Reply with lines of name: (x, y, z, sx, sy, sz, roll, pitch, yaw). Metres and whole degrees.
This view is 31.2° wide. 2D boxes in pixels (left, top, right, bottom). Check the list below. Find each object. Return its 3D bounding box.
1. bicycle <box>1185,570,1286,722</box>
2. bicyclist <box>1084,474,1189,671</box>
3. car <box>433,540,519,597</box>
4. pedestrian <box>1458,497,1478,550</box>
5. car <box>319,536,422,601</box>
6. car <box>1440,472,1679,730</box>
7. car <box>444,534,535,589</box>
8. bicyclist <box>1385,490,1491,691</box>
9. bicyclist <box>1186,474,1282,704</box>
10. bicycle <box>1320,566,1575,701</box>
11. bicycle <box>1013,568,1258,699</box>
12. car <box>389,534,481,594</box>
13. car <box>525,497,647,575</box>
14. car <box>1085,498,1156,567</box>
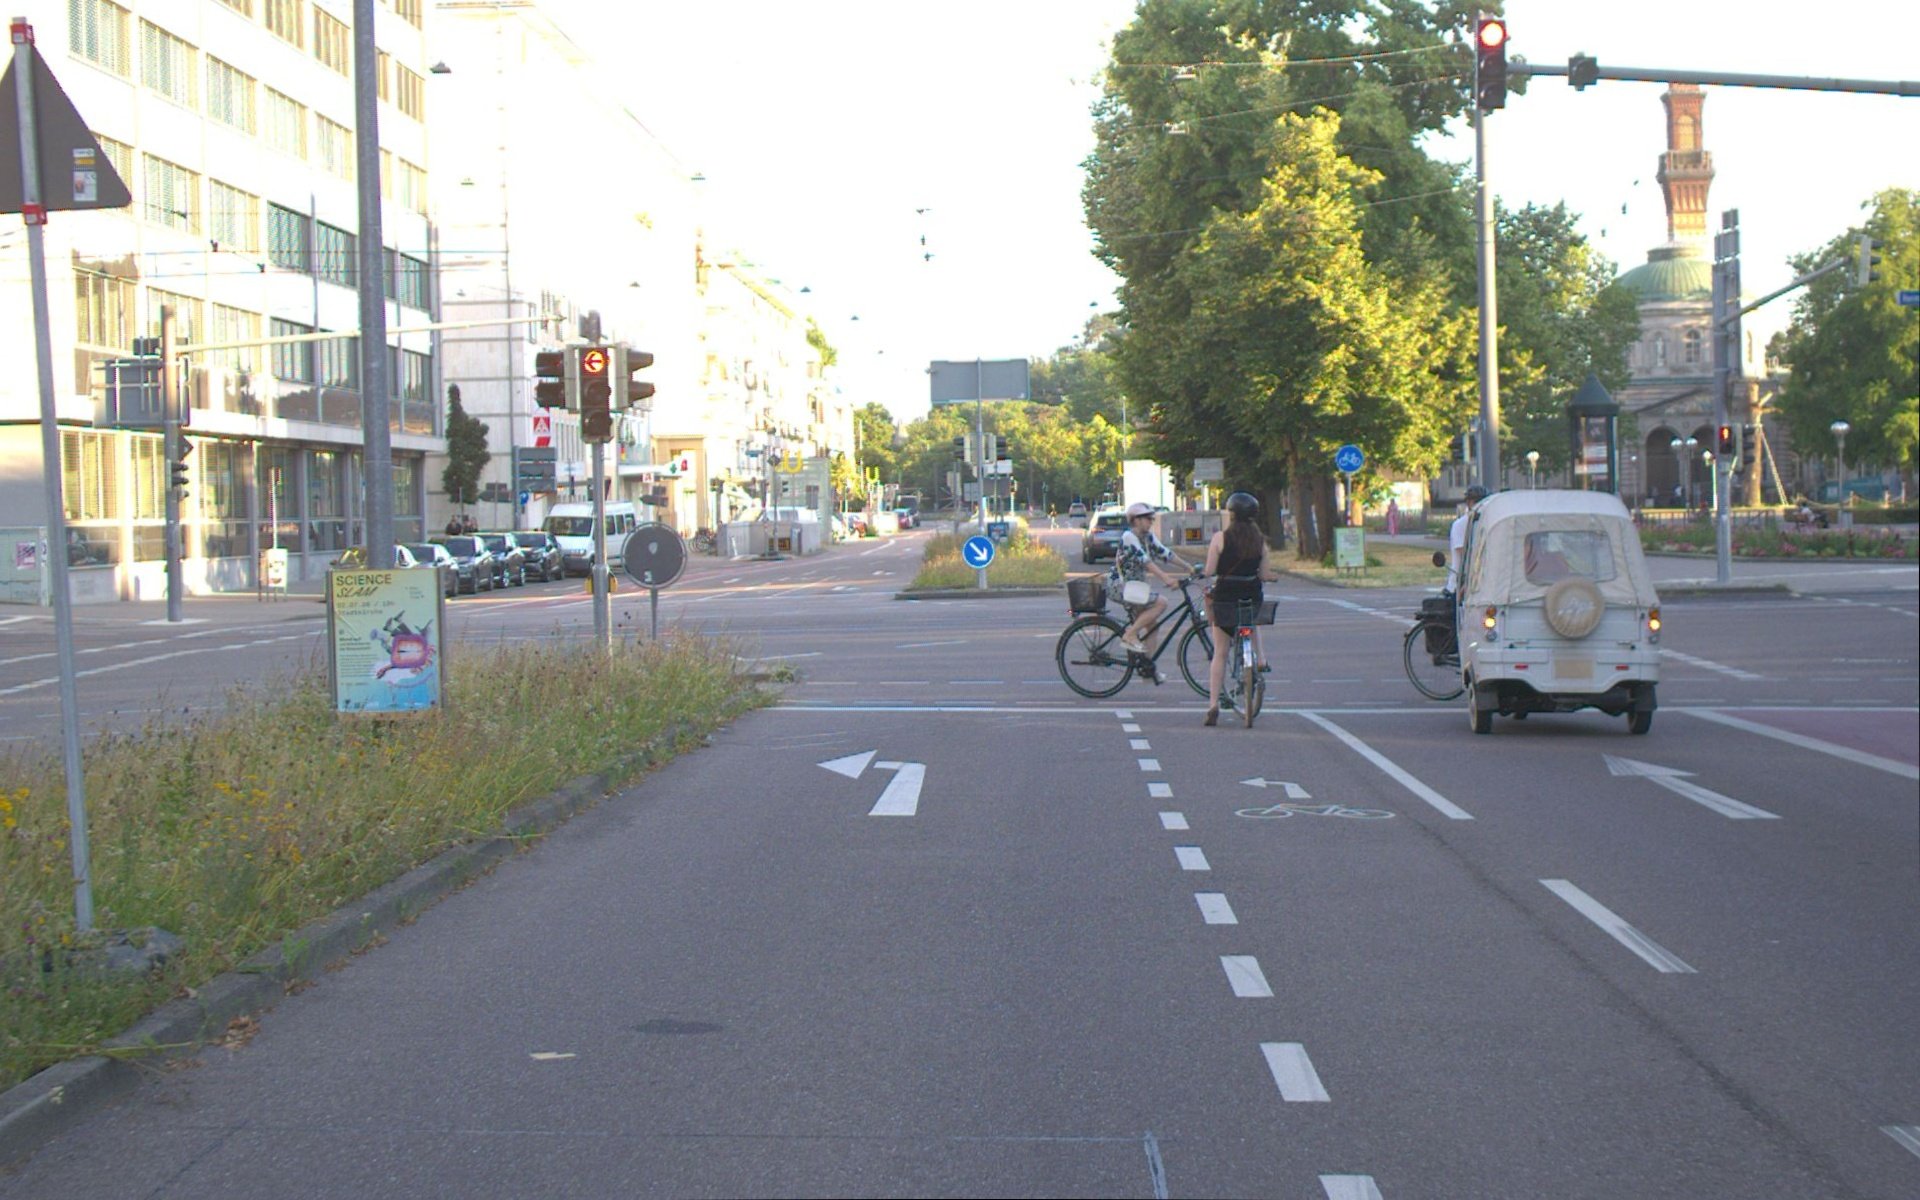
bicycle: (2.072, 0.325, 26.065, 0.637, 1.065, 2.069, 0, 1, 1)
bicyclist: (1.540, -0.242, 29.947, 0.746, 1.687, 0.715, -1, 1, 15)
car: (-13.655, -0.868, 97.153, 1.796, 1.470, 4.000, -1, -1, 1)
pedestrian: (15.881, -2.397, 107.509, 0.508, 1.663, 0.531, -1, 1, 0)
car: (-14.653, -0.764, 85.658, 1.796, 1.470, 4.000, -1, -1, 1)
car: (4.387, -0.037, 25.411, 1.459, 1.774, 2.564, -1, 2, 4)
car: (-13.976, -1.125, 102.310, 1.796, 1.470, 3.999, -2, -1, 5)
bicyclist: (4.110, -0.086, 29.535, 0.747, 1.687, 0.764, -1, 1, 17)
bicyclist: (2.047, -0.088, 25.741, 0.628, 1.687, 0.748, -1, 1, 1)
bicycle: (4.196, 0.276, 29.568, 2.059, 1.065, 0.786, 2, 2, 17)
bicycle: (1.531, 0.280, 29.975, 2.016, 1.065, 0.730, 1, 2, 13)
car: (-14.105, -0.941, 92.585, 1.796, 1.470, 4.000, -1, -1, 1)
car: (-12.489, -2.112, 115.250, 2.178, 2.377, 5.986, -2, -1, 13)
car: (4.908, -2.087, 105.648, 1.993, 2.007, 4.000, -1, 1, 0)
